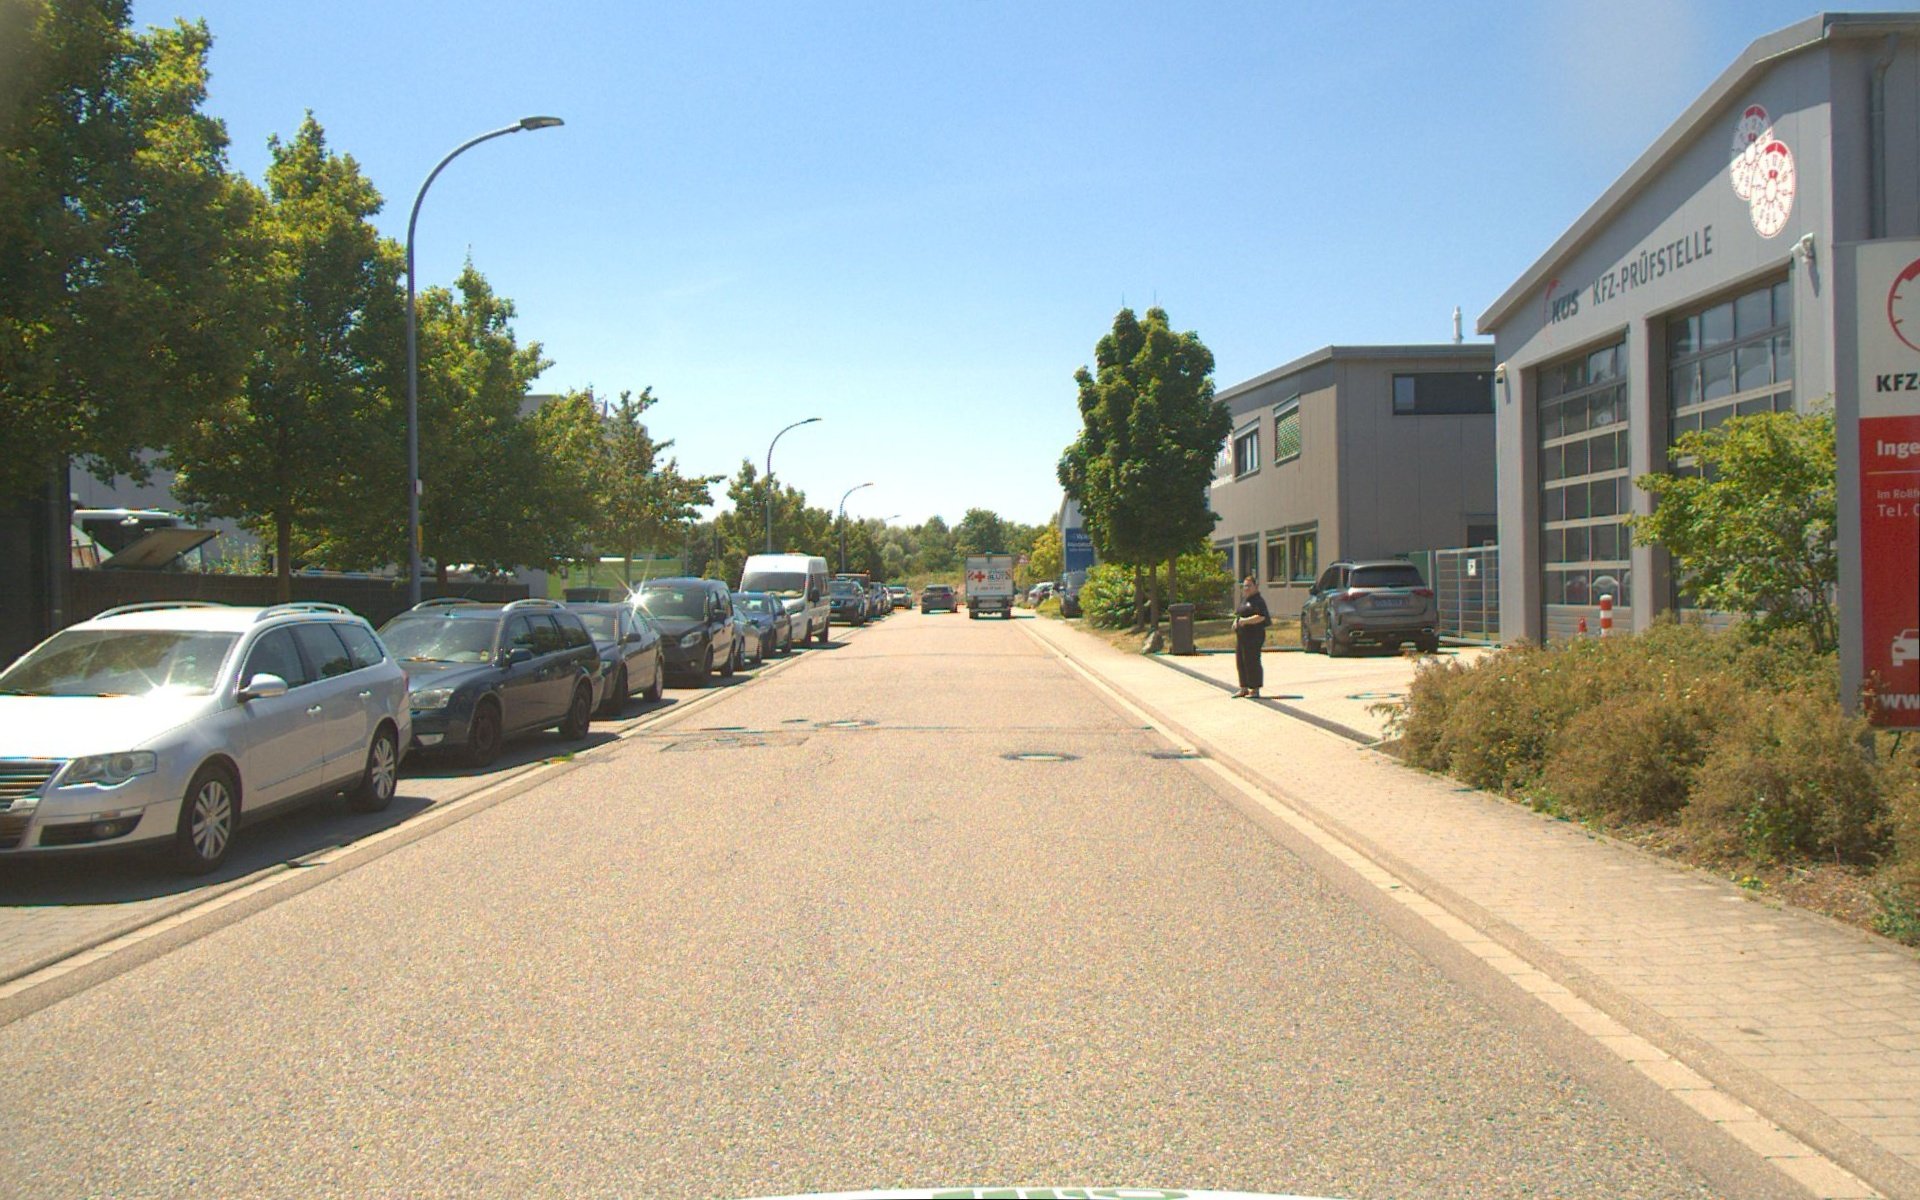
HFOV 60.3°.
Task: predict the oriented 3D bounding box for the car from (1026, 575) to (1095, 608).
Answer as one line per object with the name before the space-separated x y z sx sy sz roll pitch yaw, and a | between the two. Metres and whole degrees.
car | 5.818 -0.500 95.800 3.798 1.780 1.751 1 0 -3

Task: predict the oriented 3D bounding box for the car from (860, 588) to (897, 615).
car | -4.669 0.072 95.322 1.762 1.513 4.253 0 1 2

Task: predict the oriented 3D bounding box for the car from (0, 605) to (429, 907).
car | -5.071 0.804 10.693 1.762 1.501 4.555 0 0 1

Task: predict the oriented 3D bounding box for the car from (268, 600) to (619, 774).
car | -5.034 0.763 16.880 1.761 1.501 4.640 0 0 5

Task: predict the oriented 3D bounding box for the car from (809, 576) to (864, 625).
car | -4.931 -0.003 66.590 1.762 1.881 4.253 0 1 2

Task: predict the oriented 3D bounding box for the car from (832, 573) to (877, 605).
car | -5.066 -0.550 79.650 1.762 1.513 4.253 0 1 2

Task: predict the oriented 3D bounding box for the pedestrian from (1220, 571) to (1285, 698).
pedestrian | 3.947 0.463 22.363 0.492 1.641 0.711 -5 0 -16

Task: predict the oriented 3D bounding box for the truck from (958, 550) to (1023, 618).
truck | 1.390 -0.725 77.969 2.873 3.026 6.419 1 0 0

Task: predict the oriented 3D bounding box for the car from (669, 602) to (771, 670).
car | -4.964 0.711 34.668 1.447 1.320 3.900 0 0 2

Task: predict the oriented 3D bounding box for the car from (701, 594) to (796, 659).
car | -5.030 0.589 39.779 1.762 1.475 4.252 0 0 -1

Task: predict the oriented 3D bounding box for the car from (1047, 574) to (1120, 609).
car | 6.753 -0.467 90.855 3.798 1.780 1.751 1 0 -3

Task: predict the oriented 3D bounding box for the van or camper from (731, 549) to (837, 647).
van or camper | -4.862 -0.058 46.676 2.035 2.526 6.132 1 0 2

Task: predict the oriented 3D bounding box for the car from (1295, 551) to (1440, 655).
car | 7.858 0.067 32.337 1.748 1.814 4.906 -2 -1 2

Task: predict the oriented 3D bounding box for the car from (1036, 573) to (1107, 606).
car | 6.274 -0.596 93.124 3.798 1.780 1.751 1 0 -3

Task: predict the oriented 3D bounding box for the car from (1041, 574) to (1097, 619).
car | 4.685 -0.143 71.538 1.953 1.835 4.138 -1 0 -2

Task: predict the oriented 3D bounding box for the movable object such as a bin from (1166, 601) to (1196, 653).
movable object such as a bin | 4.667 0.570 34.949 0.520 1.071 0.845 -1 0 2

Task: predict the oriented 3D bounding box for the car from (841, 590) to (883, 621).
car | -4.969 0.259 84.050 1.762 1.513 4.253 0 1 2

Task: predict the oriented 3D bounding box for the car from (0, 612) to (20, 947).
car | -5.080 0.815 5.616 1.686 1.501 3.856 0 0 -2

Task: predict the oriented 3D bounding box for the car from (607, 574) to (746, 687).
car | -4.929 0.487 29.305 1.762 1.846 4.252 0 0 -1

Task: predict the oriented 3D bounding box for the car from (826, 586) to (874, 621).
car | -4.894 0.128 74.147 1.762 1.513 4.253 0 1 2

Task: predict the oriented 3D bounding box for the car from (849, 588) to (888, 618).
car | -4.910 0.150 89.286 1.762 1.513 4.253 0 1 2

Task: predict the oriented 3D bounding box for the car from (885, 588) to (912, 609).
car | -4.577 -0.119 124.131 1.762 1.513 4.253 0 1 2

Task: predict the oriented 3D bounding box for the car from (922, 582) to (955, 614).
car | -1.158 -0.106 91.125 1.753 1.652 3.809 1 0 0

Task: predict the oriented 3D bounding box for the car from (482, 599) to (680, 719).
car | -5.194 0.744 23.264 1.762 1.501 4.588 0 0 -1
